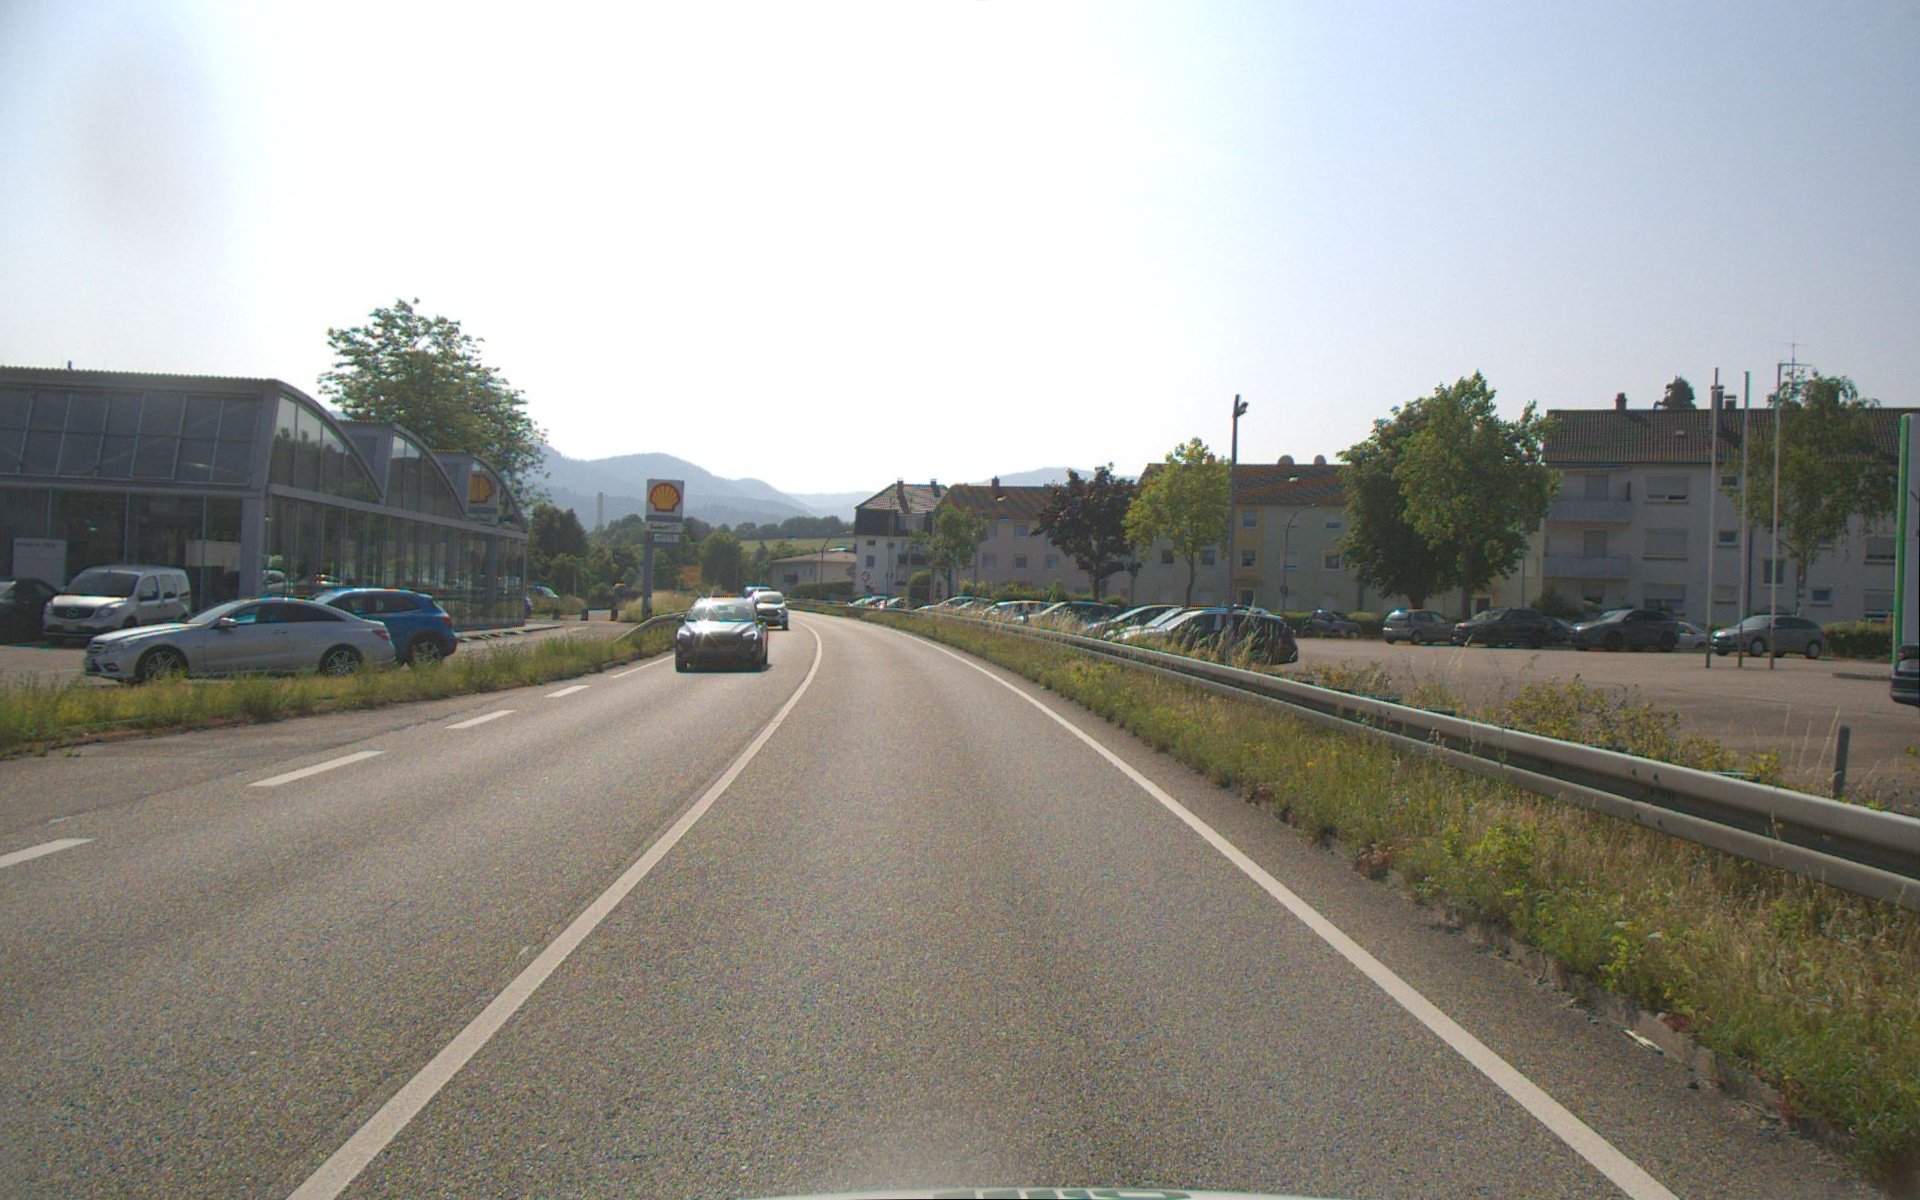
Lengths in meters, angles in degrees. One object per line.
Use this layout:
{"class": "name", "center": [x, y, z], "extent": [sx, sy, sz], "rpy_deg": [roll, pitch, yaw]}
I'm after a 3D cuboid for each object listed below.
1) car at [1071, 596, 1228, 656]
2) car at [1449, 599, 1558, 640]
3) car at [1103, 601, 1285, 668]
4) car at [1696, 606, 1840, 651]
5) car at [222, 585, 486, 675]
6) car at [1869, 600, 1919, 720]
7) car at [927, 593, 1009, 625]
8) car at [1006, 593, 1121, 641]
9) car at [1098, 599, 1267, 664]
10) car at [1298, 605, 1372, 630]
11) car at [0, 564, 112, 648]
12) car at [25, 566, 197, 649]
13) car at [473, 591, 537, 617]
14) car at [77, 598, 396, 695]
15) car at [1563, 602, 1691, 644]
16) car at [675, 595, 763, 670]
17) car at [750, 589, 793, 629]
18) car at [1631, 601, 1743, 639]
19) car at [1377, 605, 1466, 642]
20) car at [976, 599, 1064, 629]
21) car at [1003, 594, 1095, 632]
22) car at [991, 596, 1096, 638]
{"class": "car", "center": [5.236, 0.706, 45.925], "extent": [4.078, 1.572, 1.739], "rpy_deg": [-1, 0, -5]}
{"class": "car", "center": [22.436, 0.800, 68.223], "extent": [4.434, 1.628, 1.823], "rpy_deg": [1, 0, -30]}
{"class": "car", "center": [5.637, 0.813, 40.072], "extent": [4.078, 1.517, 1.730], "rpy_deg": [-1, 0, -5]}
{"class": "car", "center": [28.548, 1.004, 58.468], "extent": [4.679, 1.548, 1.984], "rpy_deg": [1, 0, -22]}
{"class": "car", "center": [-11.194, 0.516, 30.689], "extent": [4.198, 1.533, 1.954], "rpy_deg": [0, 1, -43]}
{"class": "car", "center": [14.383, 0.773, 21.625], "extent": [4.076, 1.542, 1.822], "rpy_deg": [0, 0, -6]}
{"class": "car", "center": [0.422, 0.503, 89.545], "extent": [4.235, 1.668, 2.137], "rpy_deg": [1, 0, -6]}
{"class": "car", "center": [3.716, 0.608, 60.002], "extent": [3.910, 1.668, 1.885], "rpy_deg": [1, 0, -6]}
{"class": "car", "center": [5.741, 0.806, 42.945], "extent": [4.078, 1.583, 1.769], "rpy_deg": [-1, 0, -5]}
{"class": "car", "center": [18.555, 0.849, 82.018], "extent": [1.572, 1.207, 3.626], "rpy_deg": [1, 0, -30]}
{"class": "car", "center": [-21.576, 0.078, 38.028], "extent": [1.769, 1.743, 4.936], "rpy_deg": [1, 1, -3]}
{"class": "car", "center": [-19.319, 0.119, 37.860], "extent": [1.769, 1.743, 4.407], "rpy_deg": [1, 1, -2]}
{"class": "car", "center": [-28.749, 0.231, 104.685], "extent": [3.679, 1.526, 1.927], "rpy_deg": [2, 0, -11]}
{"class": "car", "center": [-11.504, 0.690, 26.484], "extent": [4.359, 1.391, 1.824], "rpy_deg": [0, 1, -43]}
{"class": "car", "center": [25.481, 0.877, 63.163], "extent": [4.556, 1.548, 1.852], "rpy_deg": [1, 0, -22]}
{"class": "car", "center": [-5.118, 0.641, 35.573], "extent": [1.718, 1.500, 4.281], "rpy_deg": [0, 0, -6]}
{"class": "car", "center": [-8.210, 0.368, 72.238], "extent": [1.757, 1.658, 4.222], "rpy_deg": [0, 0, -6]}
{"class": "car", "center": [29.625, 0.808, 67.500], "extent": [1.762, 1.500, 3.949], "rpy_deg": [1, 0, -29]}
{"class": "car", "center": [19.837, 1.001, 71.104], "extent": [3.717, 1.548, 1.639], "rpy_deg": [1, 0, -32]}
{"class": "car", "center": [3.040, 0.722, 84.058], "extent": [4.239, 1.469, 1.625], "rpy_deg": [1, 0, -8]}
{"class": "car", "center": [3.873, 0.555, 72.053], "extent": [3.772, 1.595, 1.805], "rpy_deg": [1, 0, -6]}
{"class": "car", "center": [3.308, 0.683, 65.956], "extent": [3.915, 1.607, 1.774], "rpy_deg": [1, 0, -10]}
